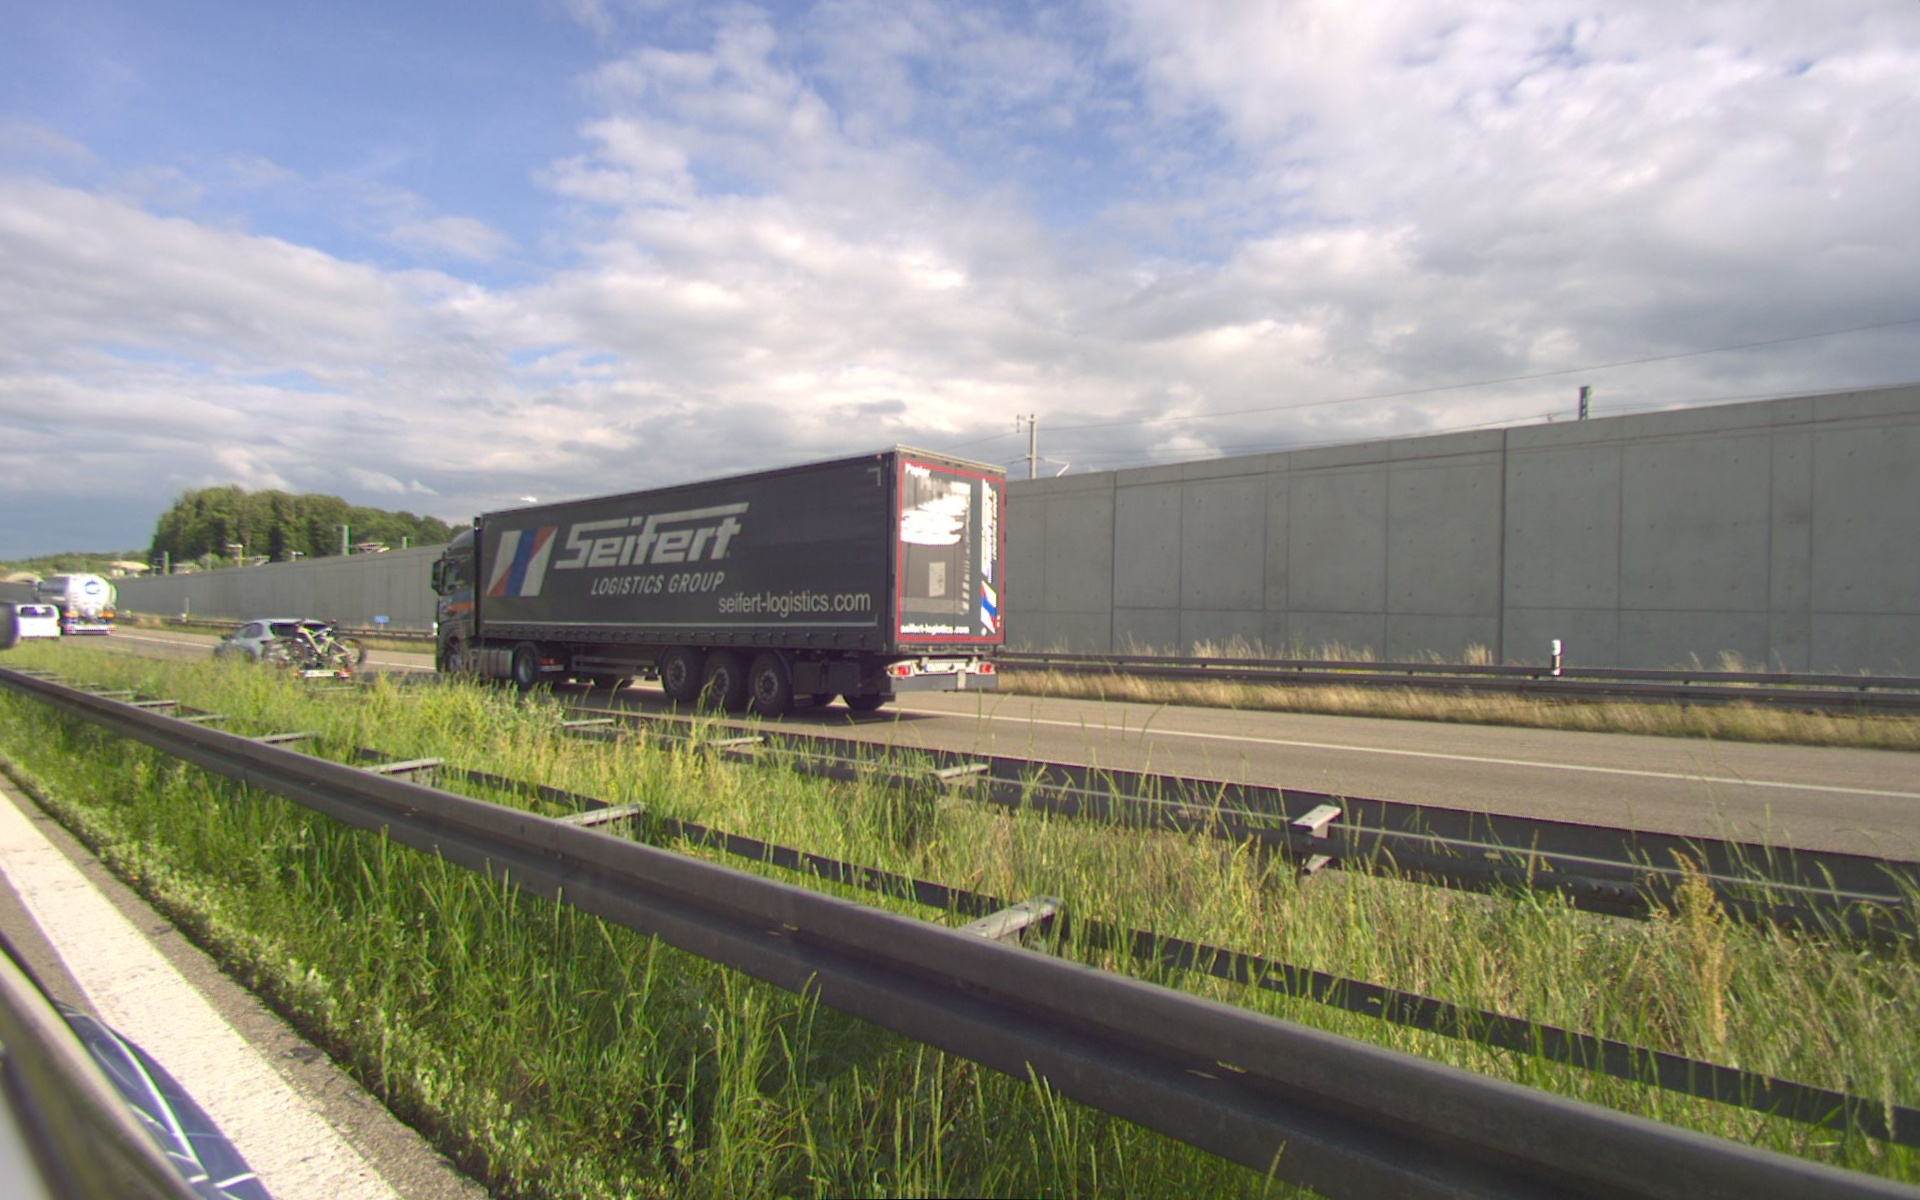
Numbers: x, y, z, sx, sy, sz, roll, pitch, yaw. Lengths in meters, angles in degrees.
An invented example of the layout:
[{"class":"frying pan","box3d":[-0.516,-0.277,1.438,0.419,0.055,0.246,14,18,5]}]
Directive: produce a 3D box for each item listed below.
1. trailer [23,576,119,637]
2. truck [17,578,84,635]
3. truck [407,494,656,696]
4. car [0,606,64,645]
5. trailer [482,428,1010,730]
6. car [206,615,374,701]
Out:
[{"class":"trailer","box3d":[-59.143,0.466,67.176,12.524,3.799,2.516,0,-2,38]},{"class":"truck","box3d":[-63.286,0.461,70.423,5.410,3.827,2.528,0,-2,39]},{"class":"truck","box3d":[-10.286,-0.076,23.933,6.951,4.121,2.725,-1,-1,42]},{"class":"car","box3d":[-47.574,1.298,51.788,4.785,1.898,1.972,-1,-3,42]},{"class":"trailer","box3d":[-4.924,-0.238,19.218,12.900,4.146,2.730,-1,-1,42]},{"class":"car","box3d":[-15.002,1.191,22.531,5.109,1.644,1.868,-1,0,42]}]
